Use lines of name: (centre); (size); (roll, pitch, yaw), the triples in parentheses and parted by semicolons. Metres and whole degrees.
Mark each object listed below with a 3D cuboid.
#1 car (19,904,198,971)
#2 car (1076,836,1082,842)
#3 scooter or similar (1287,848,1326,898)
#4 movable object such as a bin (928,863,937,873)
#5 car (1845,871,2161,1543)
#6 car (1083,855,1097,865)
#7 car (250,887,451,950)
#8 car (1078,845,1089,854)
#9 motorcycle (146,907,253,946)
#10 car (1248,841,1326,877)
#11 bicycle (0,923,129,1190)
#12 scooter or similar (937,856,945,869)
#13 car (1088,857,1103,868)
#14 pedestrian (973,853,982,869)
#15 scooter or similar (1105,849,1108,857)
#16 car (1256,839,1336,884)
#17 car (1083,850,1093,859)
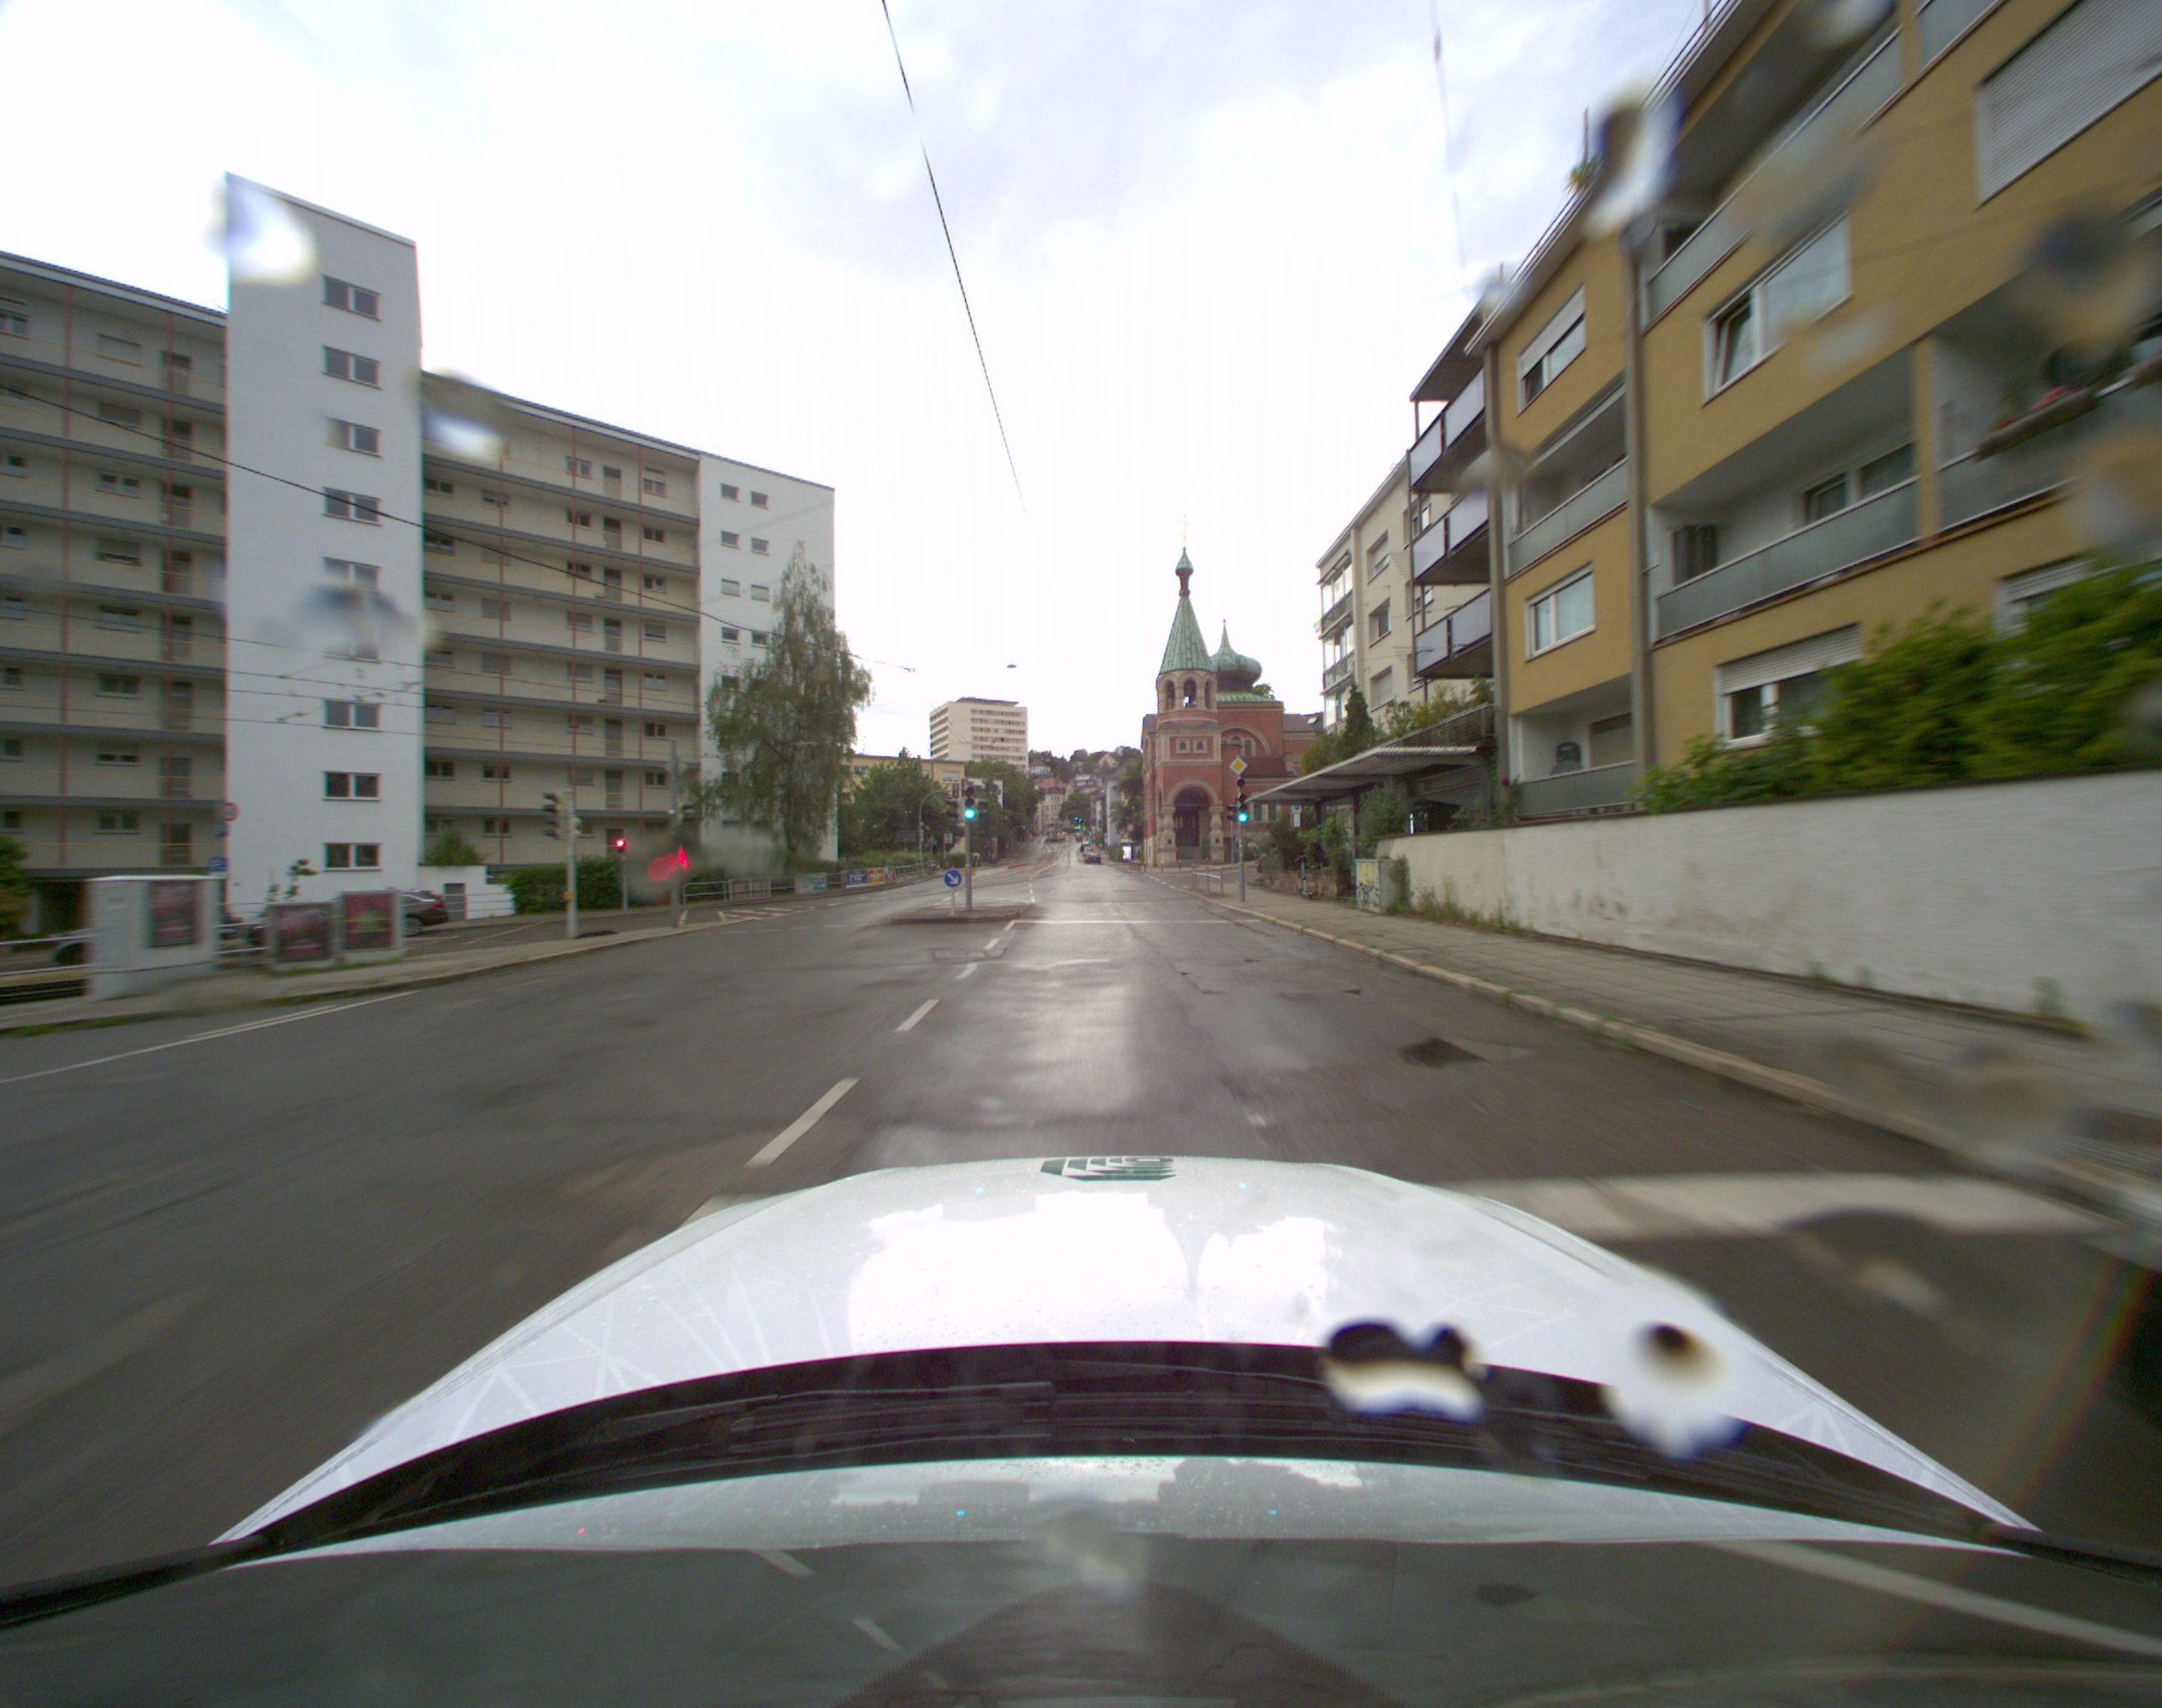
car: (-26.263, 2.199, 22.146); (1.788, 1.392, 2.910); (-2, 2, 44)
car: (-0.505, -4.104, 219.112); (1.796, 1.645, 4.000); (0, 0, 0)
scooter or similar: (6.427, 0.524, 23.285); (0.533, 1.327, 1.659); (-6, -1, 0)
movable object such as a bin: (-12.862, 1.225, 70.520); (0.685, 0.882, 0.759); (0, -2, -6)
car: (3.236, 0.722, 0.255); (1.725, 1.460, 4.475); (0, -2, -1)
car: (1.379, 0.904, 123.328); (1.935, 1.464, 4.202); (0, 0, -3)
car: (-22.713, 1.943, 25.468); (1.851, 1.461, 4.519); (-4, 0, 45)
car: (0.479, -0.880, 164.674); (1.901, 1.641, 4.687); (0, 2, -2)
motorcycle: (-28.336, 2.300, 26.221); (0.888, 0.940, 2.250); (-2, 3, 40)
car: (10.705, 0.228, 42.174); (1.977, 1.457, 4.477); (-1, 3, 43)
bicycle: (-5.225, 0.923, 3.045); (0.821, 1.148, 2.126); (-1, -1, -1)
scooter or similar: (-12.410, 0.756, 72.207); (0.571, 1.184, 1.597); (0, -2, -5)
car: (1.936, 1.198, 111.864); (1.853, 1.487, 4.641); (0, 0, -2)
pedestrian: (-11.592, 0.790, 90.868); (0.917, 1.846, 1.015); (1, -1, -5)
scooter or similar: (4.685, -0.151, 149.107); (0.572, 1.249, 1.613); (0, 4, 4)
car: (8.292, 0.339, 31.871); (1.848, 1.503, 4.447); (-4, -2, 0)
car: (1.258, 0.053, 148.340); (1.700, 1.433, 4.099); (0, 2, -2)
